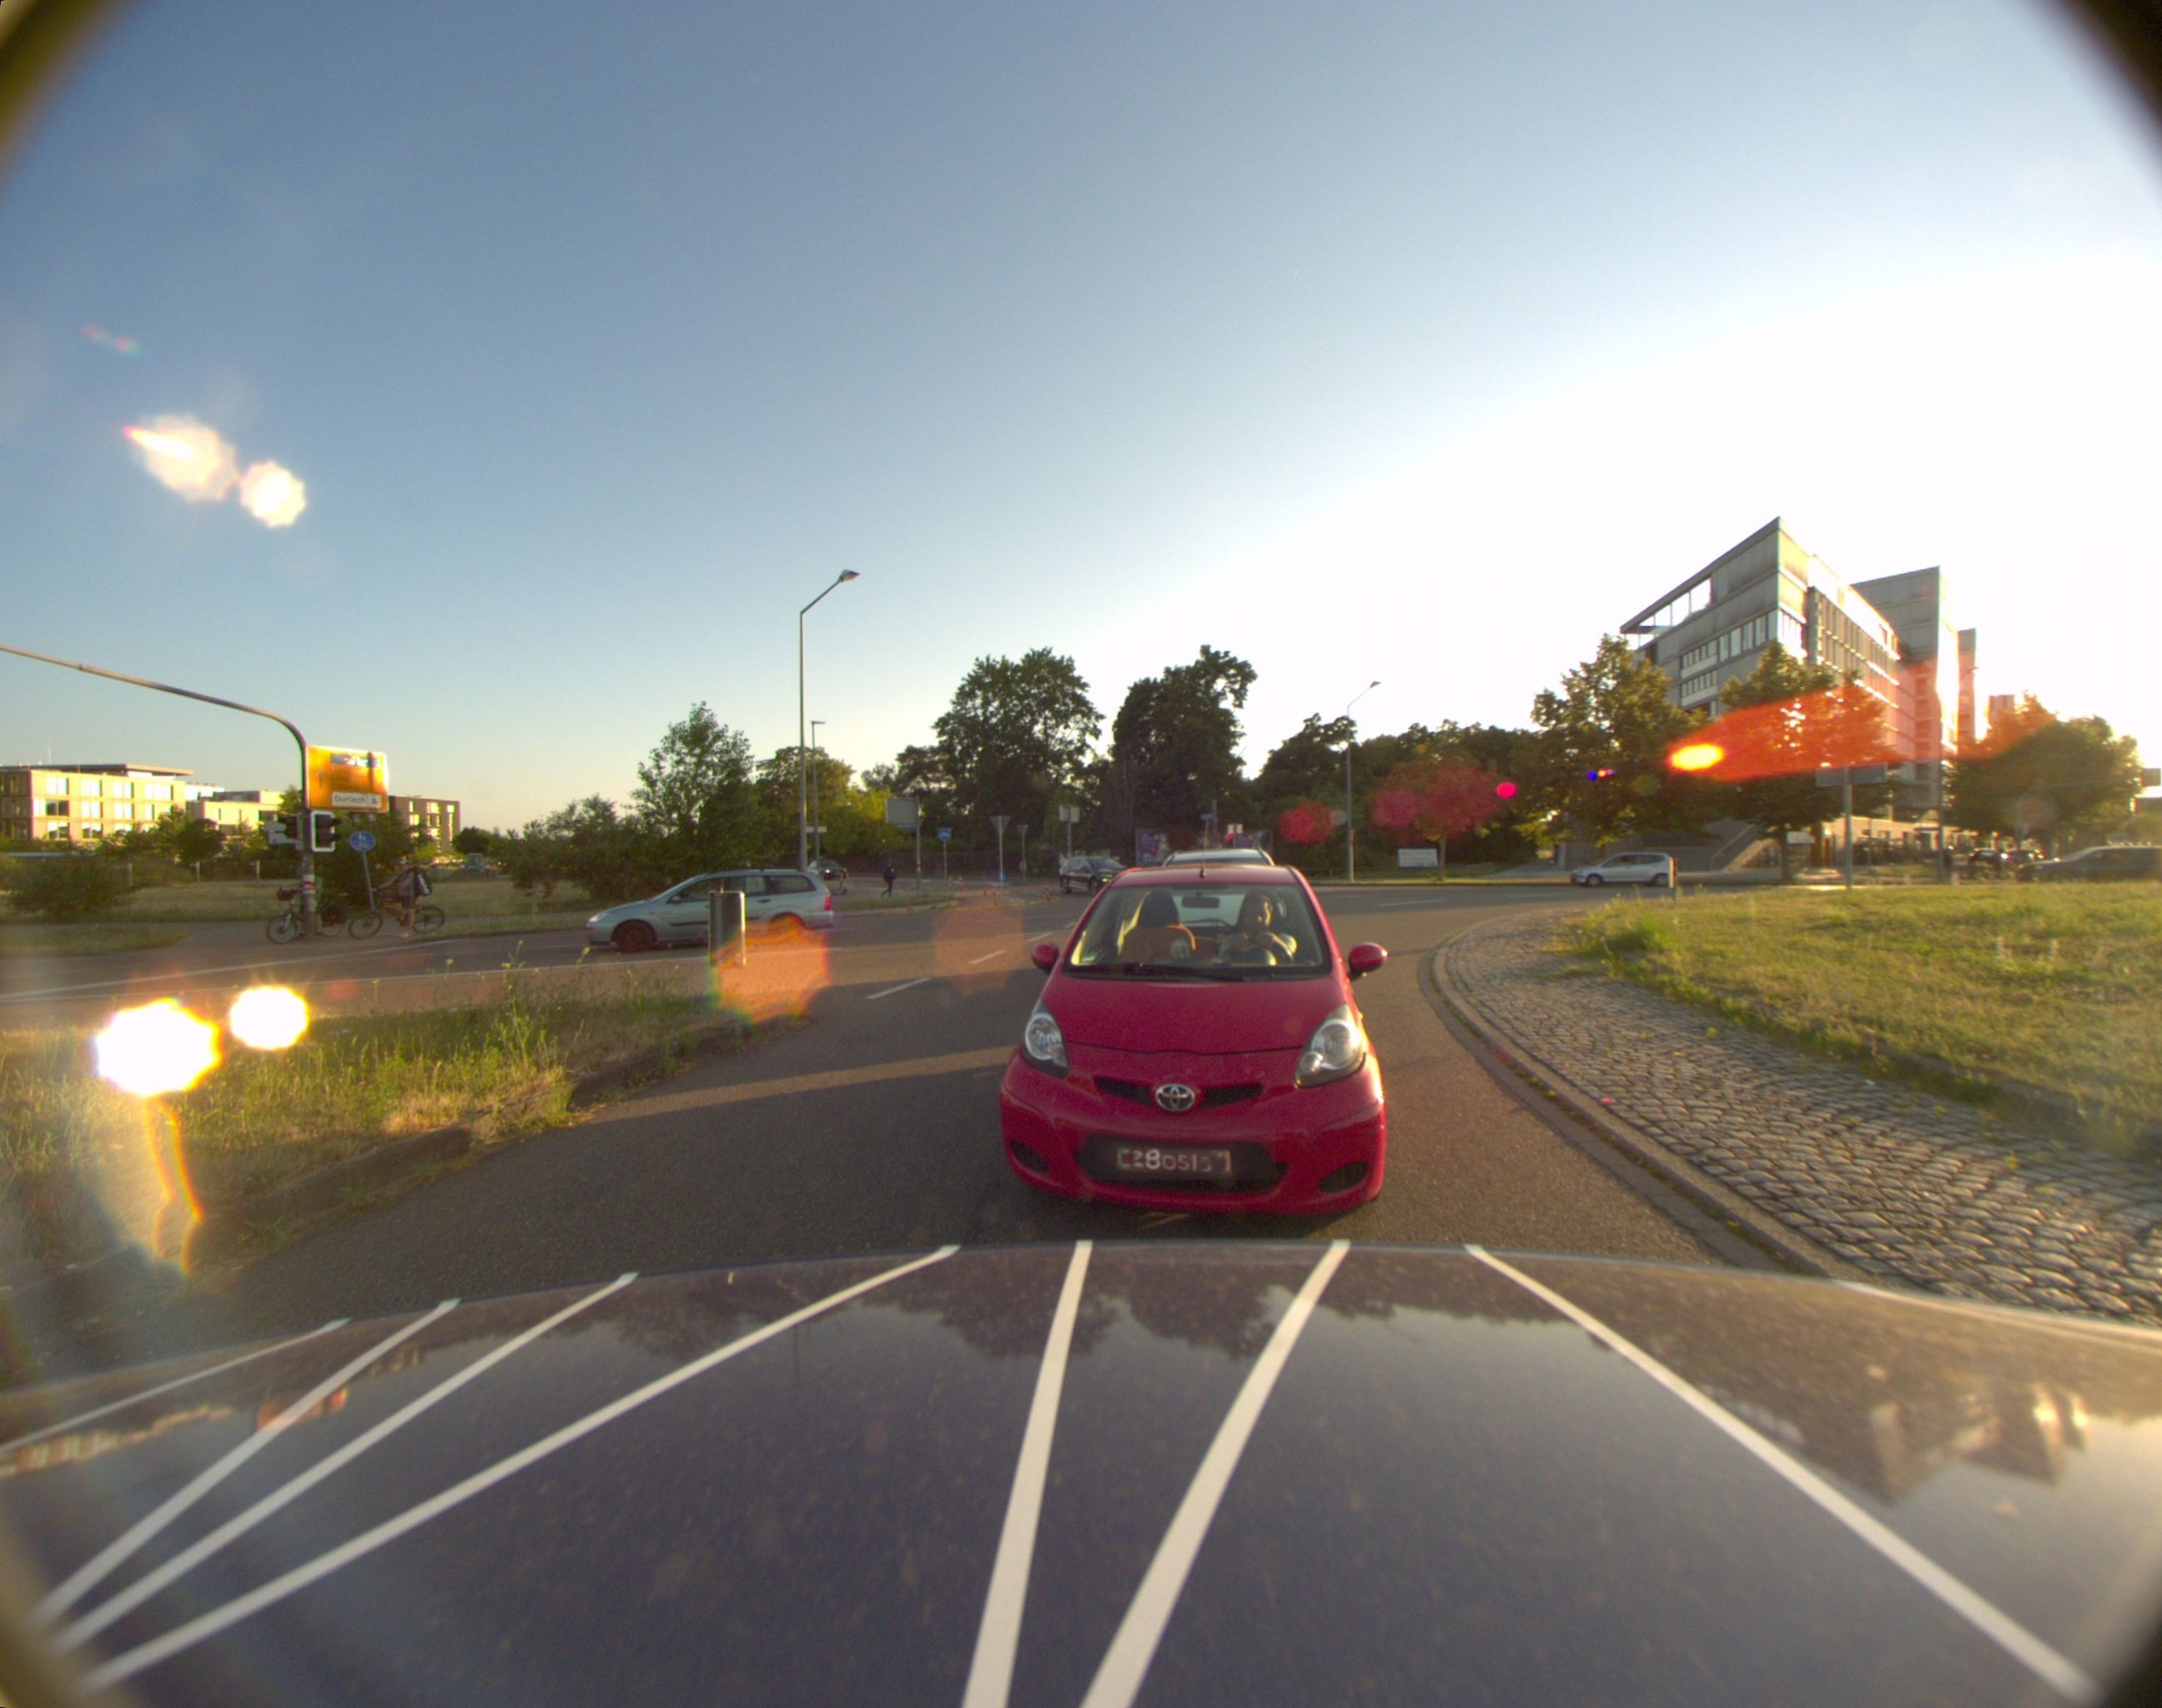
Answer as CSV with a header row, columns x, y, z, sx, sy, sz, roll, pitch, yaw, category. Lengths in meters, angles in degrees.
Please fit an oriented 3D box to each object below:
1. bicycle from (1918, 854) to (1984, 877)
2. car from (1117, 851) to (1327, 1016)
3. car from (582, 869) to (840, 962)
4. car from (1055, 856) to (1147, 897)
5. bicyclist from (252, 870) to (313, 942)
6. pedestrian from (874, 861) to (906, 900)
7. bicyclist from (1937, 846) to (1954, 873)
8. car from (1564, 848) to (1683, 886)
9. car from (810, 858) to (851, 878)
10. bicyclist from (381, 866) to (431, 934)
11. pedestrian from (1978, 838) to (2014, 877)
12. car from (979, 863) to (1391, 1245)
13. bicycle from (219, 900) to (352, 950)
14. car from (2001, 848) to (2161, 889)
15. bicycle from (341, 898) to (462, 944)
x,y,z,sx,sy,sz,roll,pitch,yaw,category
47.111,0.616,41.158,0.744,1.237,2.341,-2,1,-41,bicycle
1.582,0.776,9.518,1.997,1.597,4.200,-1,0,6,car
-7.195,1.123,15.162,4.317,1.483,1.996,-1,1,-24,car
0.749,0.877,31.881,2.003,1.588,4.304,-1,1,-28,car
-19.322,1.249,18.392,0.724,1.680,0.690,-1,1,12,bicyclist
-7.997,1.088,31.844,0.994,1.581,0.924,-2,1,-36,pedestrian
46.998,0.296,41.300,0.693,1.432,0.610,-2,1,-42,bicyclist
23.656,0.555,33.318,3.883,1.571,1.957,-1,0,23,car
-19.832,1.076,59.966,2.003,1.477,3.990,-1,0,-35,car
-17.136,1.156,19.299,0.723,1.680,0.690,-1,1,28,bicyclist
49.391,0.184,41.027,0.776,2.002,0.998,-2,1,-11,pedestrian
0.845,0.824,5.113,1.686,1.412,4.004,-1,0,13,car
-19.263,1.689,18.480,0.708,0.958,2.109,-1,2,14,bicycle
36.643,0.518,27.195,4.372,1.368,2.004,-1,0,37,car
-17.152,1.671,19.239,0.708,0.957,2.149,-1,0,26,bicycle
